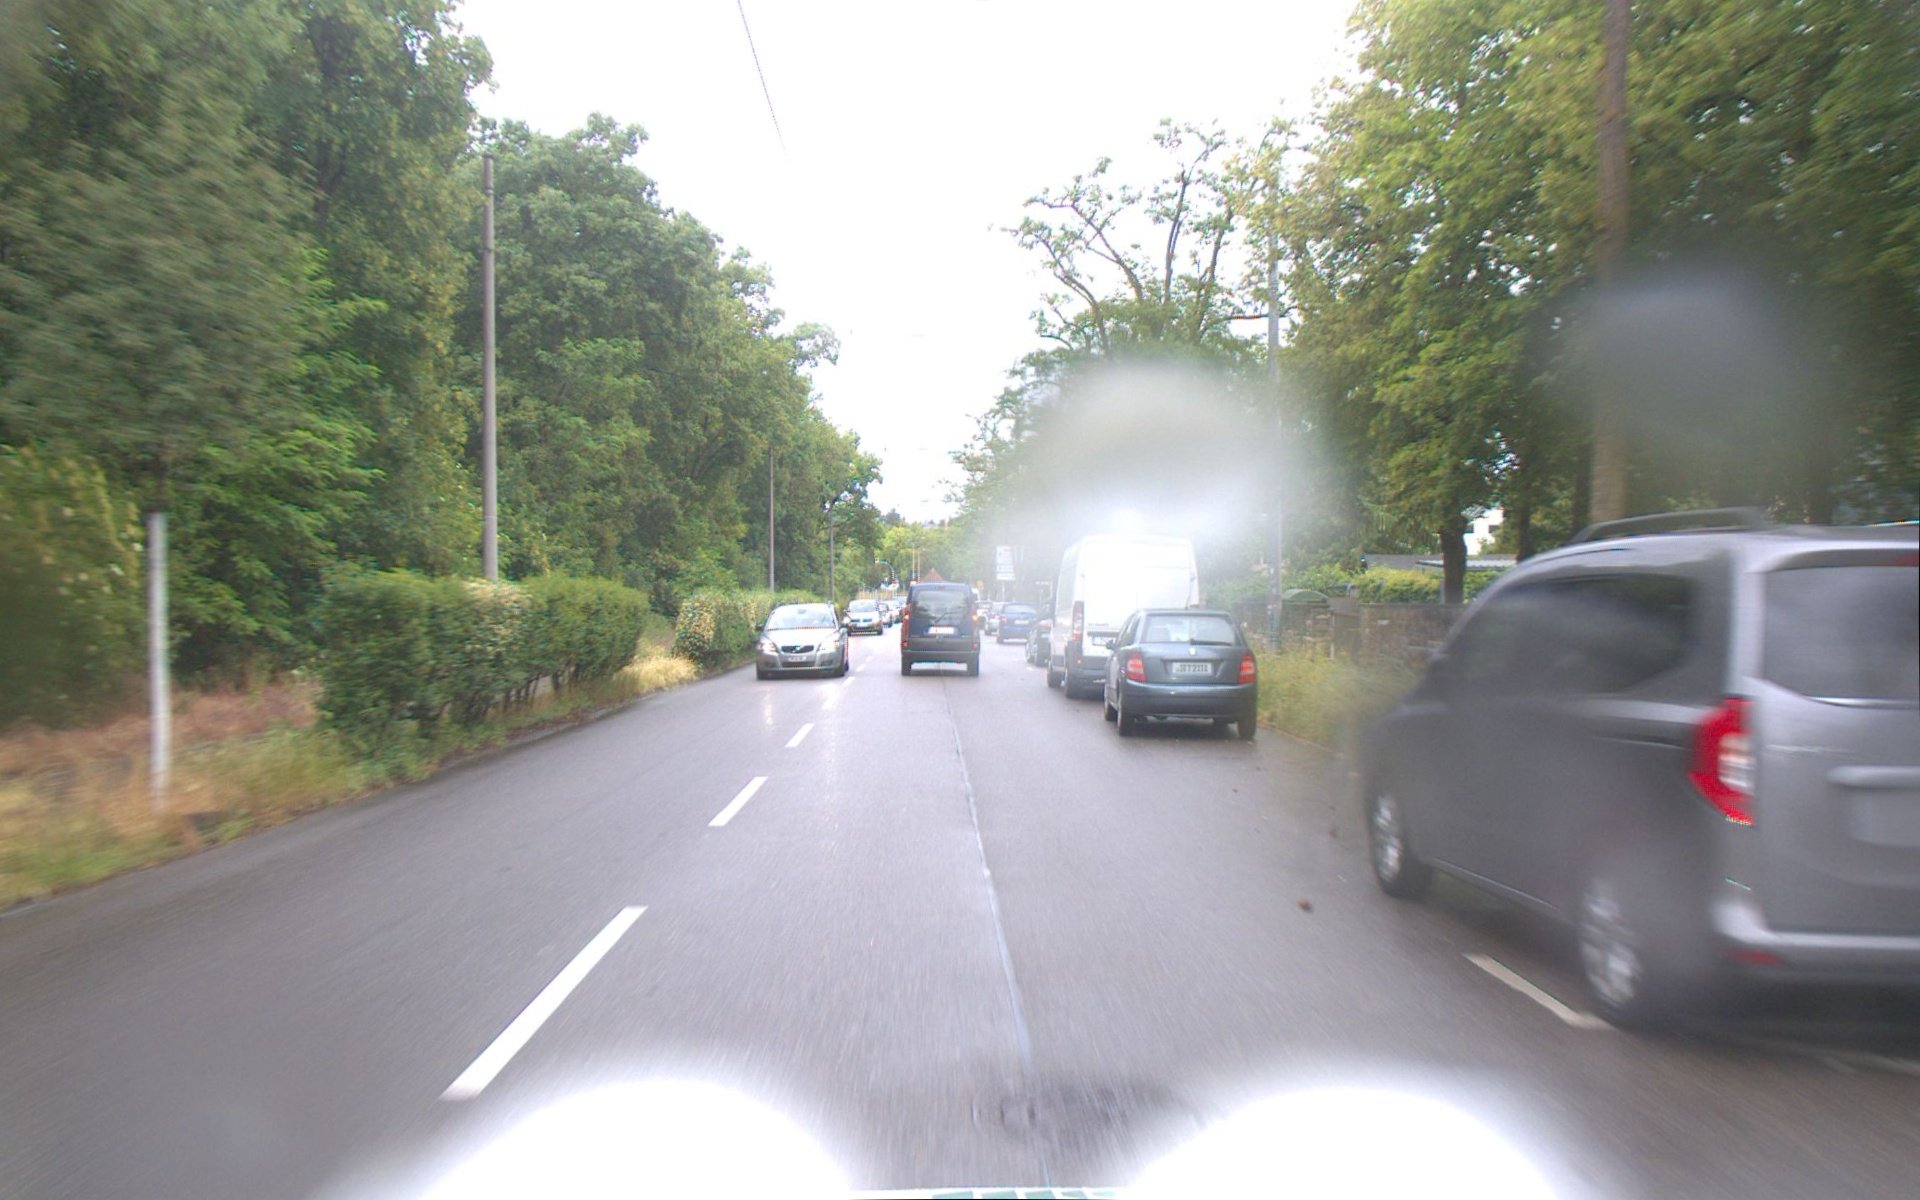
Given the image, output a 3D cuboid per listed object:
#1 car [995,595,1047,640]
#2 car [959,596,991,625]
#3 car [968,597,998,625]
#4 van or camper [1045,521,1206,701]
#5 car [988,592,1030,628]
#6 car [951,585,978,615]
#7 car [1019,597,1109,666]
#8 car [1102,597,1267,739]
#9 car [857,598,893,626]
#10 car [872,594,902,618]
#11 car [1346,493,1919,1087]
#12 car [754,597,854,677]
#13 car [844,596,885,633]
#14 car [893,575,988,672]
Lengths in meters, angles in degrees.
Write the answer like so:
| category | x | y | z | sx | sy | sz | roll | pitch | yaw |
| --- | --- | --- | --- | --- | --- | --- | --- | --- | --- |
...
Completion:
| category | x | y | z | sx | sy | sz | roll | pitch | yaw |
| --- | --- | --- | --- | --- | --- | --- | --- | --- | --- |
| car | 2.221 | 0.621 | 60.827 | 1.686 | 1.532 | 4.050 | 1 | 1 | -1 |
| car | 0.799 | 0.559 | 90.255 | 1.600 | 1.536 | 2.956 | 1 | 1 | -2 |
| car | 1.373 | 0.634 | 96.536 | 1.663 | 1.551 | 3.868 | 1 | 1 | 1 |
| van or camper | 2.665 | 0.132 | 27.947 | 2.036 | 2.697 | 5.345 | 1 | 1 | -1 |
| car | 2.174 | 0.431 | 74.327 | 1.586 | 1.534 | 3.833 | 1 | 1 | -3 |
| car | 0.364 | 0.018 | 137.846 | 2.160 | 2.492 | 4.728 | 0 | 0 | -1 |
| car | 2.495 | 0.735 | 40.489 | 1.706 | 1.505 | 3.961 | 1 | 1 | -3 |
| car | 2.644 | 0.744 | 20.173 | 1.592 | 1.489 | 3.809 | 1 | 1 | 2 |
| car | -4.998 | 0.675 | 97.701 | 1.818 | 1.494 | 4.446 | -3 | 1 | -1 |
| car | -5.011 | 0.405 | 114.095 | 1.818 | 1.494 | 4.446 | -3 | 1 | -1 |
| car | 3.205 | 0.578 | 7.333 | 1.778 | 1.845 | 4.281 | 1 | 1 | -3 |
| car | -3.111 | 0.739 | 33.684 | 1.747 | 1.505 | 3.966 | -1 | -1 | -2 |
| car | -4.275 | 0.621 | 74.547 | 1.695 | 1.518 | 3.999 | -1 | 1 | -1 |
| car | -0.455 | 0.442 | 34.215 | 1.732 | 1.862 | 3.539 | 1 | 1 | -4 |
